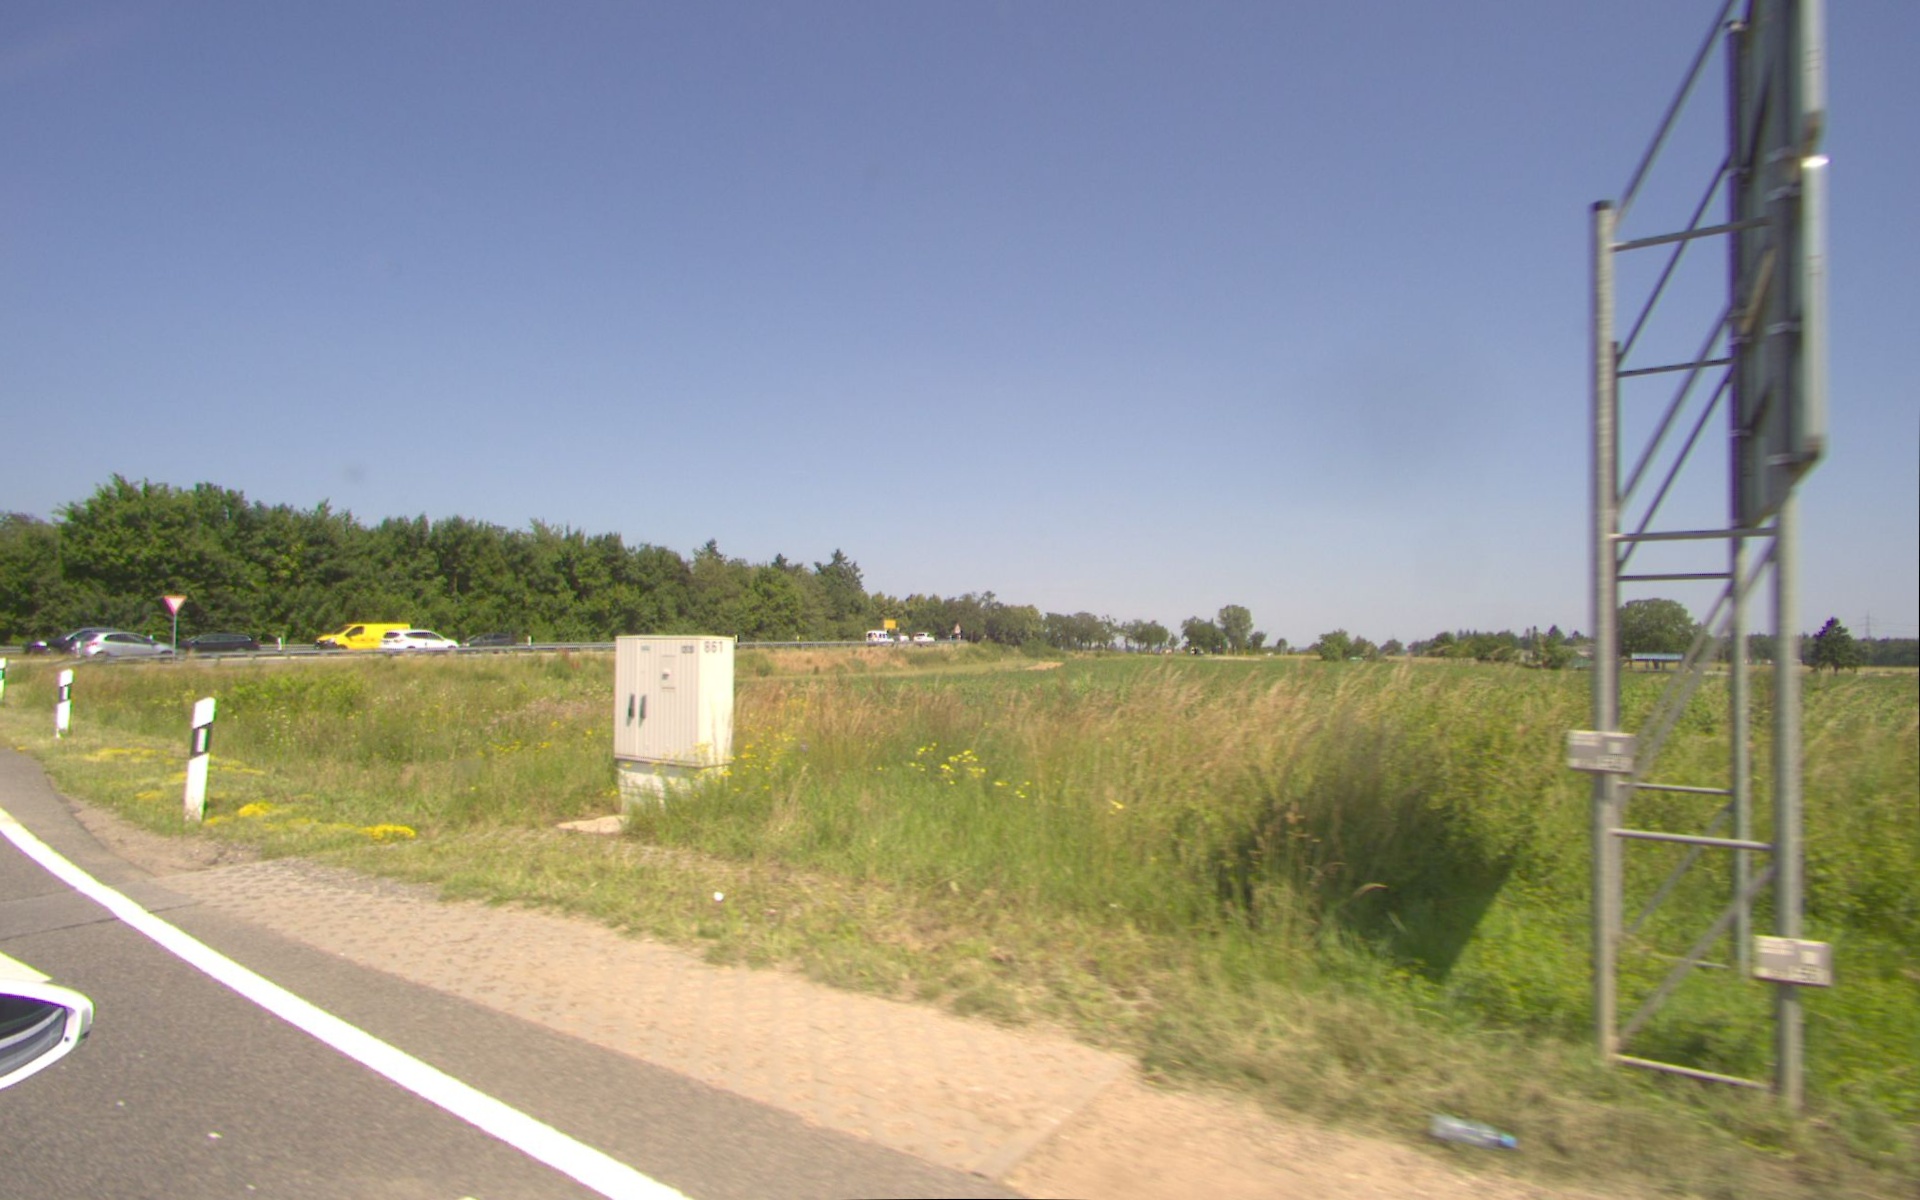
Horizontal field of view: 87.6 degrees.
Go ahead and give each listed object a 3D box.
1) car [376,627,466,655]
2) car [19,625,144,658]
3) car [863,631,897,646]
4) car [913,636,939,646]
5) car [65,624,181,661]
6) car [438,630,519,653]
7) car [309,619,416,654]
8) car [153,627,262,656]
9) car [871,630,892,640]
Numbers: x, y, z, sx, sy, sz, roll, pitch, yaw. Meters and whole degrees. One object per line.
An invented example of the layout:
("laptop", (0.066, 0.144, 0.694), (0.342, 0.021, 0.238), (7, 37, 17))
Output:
("car", (-31.292, 2.395, 58.269), (1.711, 1.586, 4.470), (-1, -2, 25))
("car", (-44.343, 2.086, 50.617), (1.744, 1.618, 4.474), (-1, -2, 35))
("car", (-8.442, 4.087, 106.378), (1.691, 1.589, 3.985), (-1, -2, 28))
("car", (-4.024, 4.844, 118.613), (1.687, 1.204, 3.994), (-1, -2, 19))
("car", (-38.030, 1.932, 45.570), (1.713, 1.586, 3.679), (-1, -2, 29))
("car", (-32.697, 2.808, 68.096), (1.828, 1.533, 4.671), (-1, -2, 35))
("car", (-36.727, 2.259, 61.712), (1.973, 2.039, 5.311), (-1, -2, 34))
("car", (-42.284, 2.328, 56.355), (1.831, 1.533, 4.663), (-2, -3, 40))
("car", (-12.055, 5.436, 153.672), (1.823, 1.533, 4.684), (1, -2, -23))
